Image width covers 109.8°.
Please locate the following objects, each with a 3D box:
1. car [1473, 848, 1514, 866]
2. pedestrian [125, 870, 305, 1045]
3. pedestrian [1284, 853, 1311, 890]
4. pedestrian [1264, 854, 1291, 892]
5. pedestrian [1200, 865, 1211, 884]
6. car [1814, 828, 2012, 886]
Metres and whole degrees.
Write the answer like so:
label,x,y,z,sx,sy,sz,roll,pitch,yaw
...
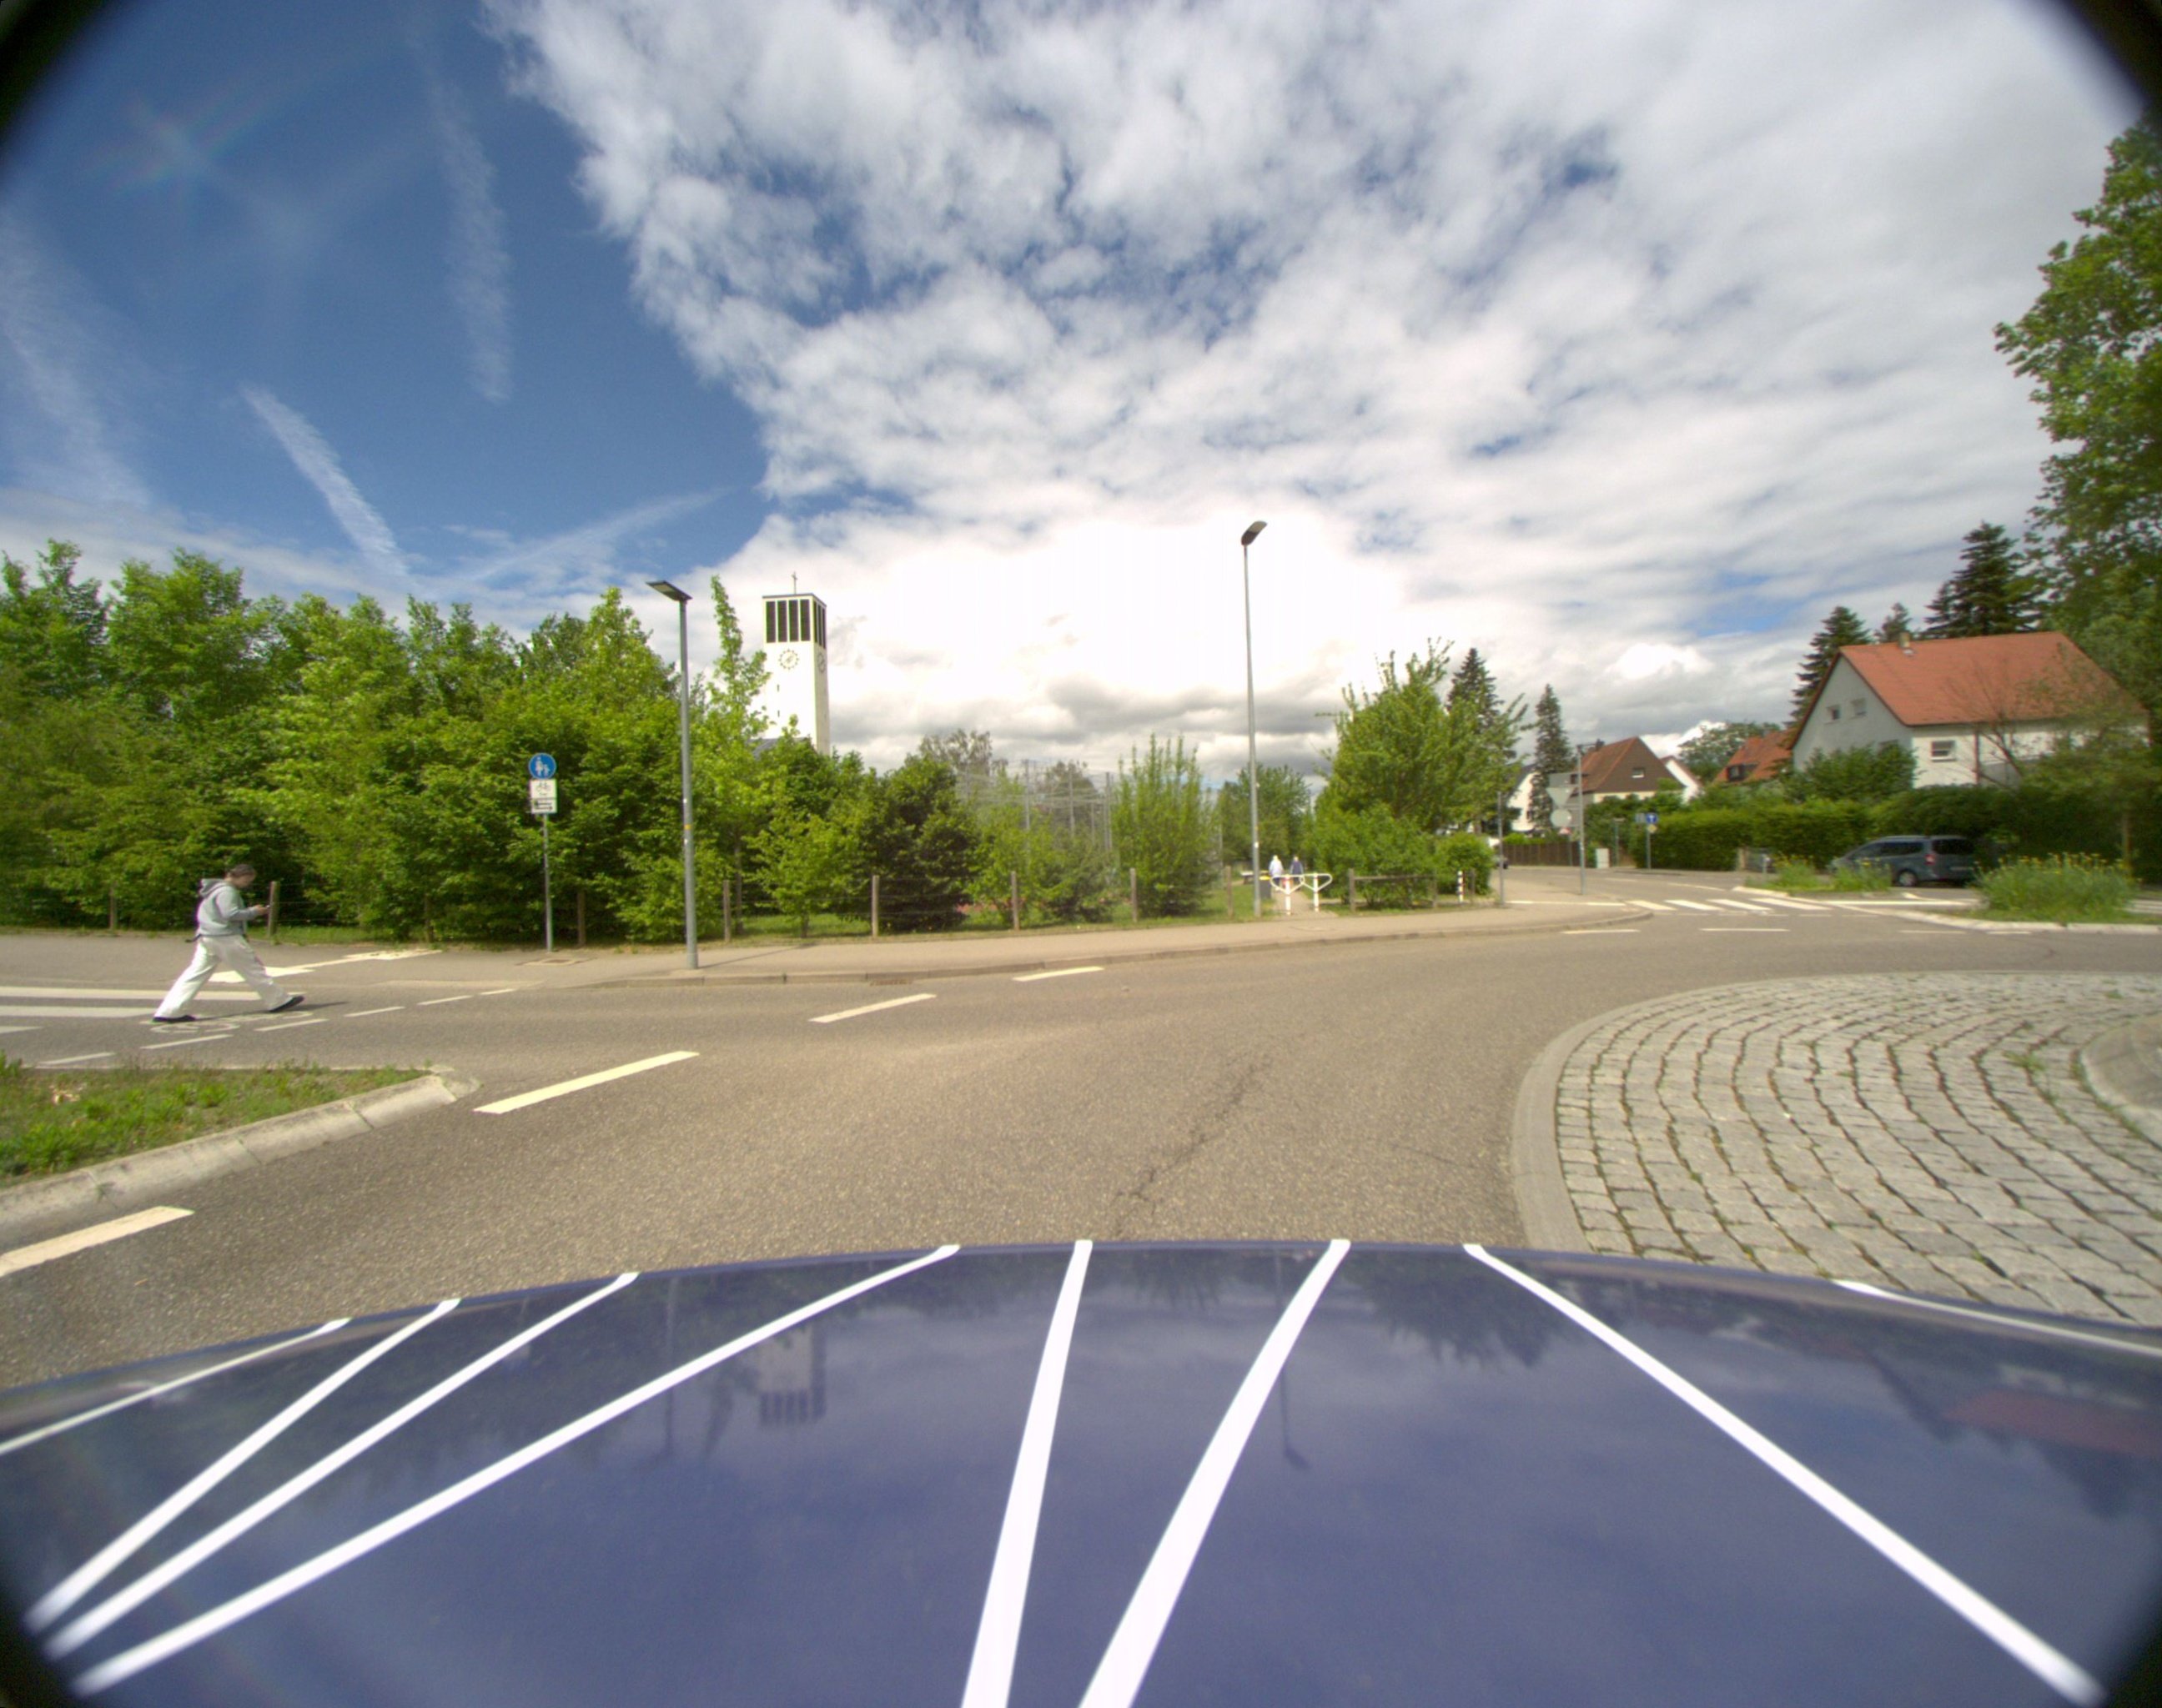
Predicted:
label,x,y,z,sx,sy,sz,roll,pitch,yaw
car,35.496,0.279,65.475,1.996,1.471,4.652,-1,0,13
pedestrian,-8.510,0.967,7.534,1.039,1.532,0.893,-3,-1,-43
pedestrian,10.213,0.819,35.920,0.894,1.683,0.931,-3,0,-2
pedestrian,9.170,0.879,35.467,0.894,1.683,0.931,-3,0,-2
pedestrian,8.557,1.399,52.243,0.564,1.227,0.800,-1,0,27
car,29.084,0.127,26.835,2.137,1.762,4.466,-3,-1,3
